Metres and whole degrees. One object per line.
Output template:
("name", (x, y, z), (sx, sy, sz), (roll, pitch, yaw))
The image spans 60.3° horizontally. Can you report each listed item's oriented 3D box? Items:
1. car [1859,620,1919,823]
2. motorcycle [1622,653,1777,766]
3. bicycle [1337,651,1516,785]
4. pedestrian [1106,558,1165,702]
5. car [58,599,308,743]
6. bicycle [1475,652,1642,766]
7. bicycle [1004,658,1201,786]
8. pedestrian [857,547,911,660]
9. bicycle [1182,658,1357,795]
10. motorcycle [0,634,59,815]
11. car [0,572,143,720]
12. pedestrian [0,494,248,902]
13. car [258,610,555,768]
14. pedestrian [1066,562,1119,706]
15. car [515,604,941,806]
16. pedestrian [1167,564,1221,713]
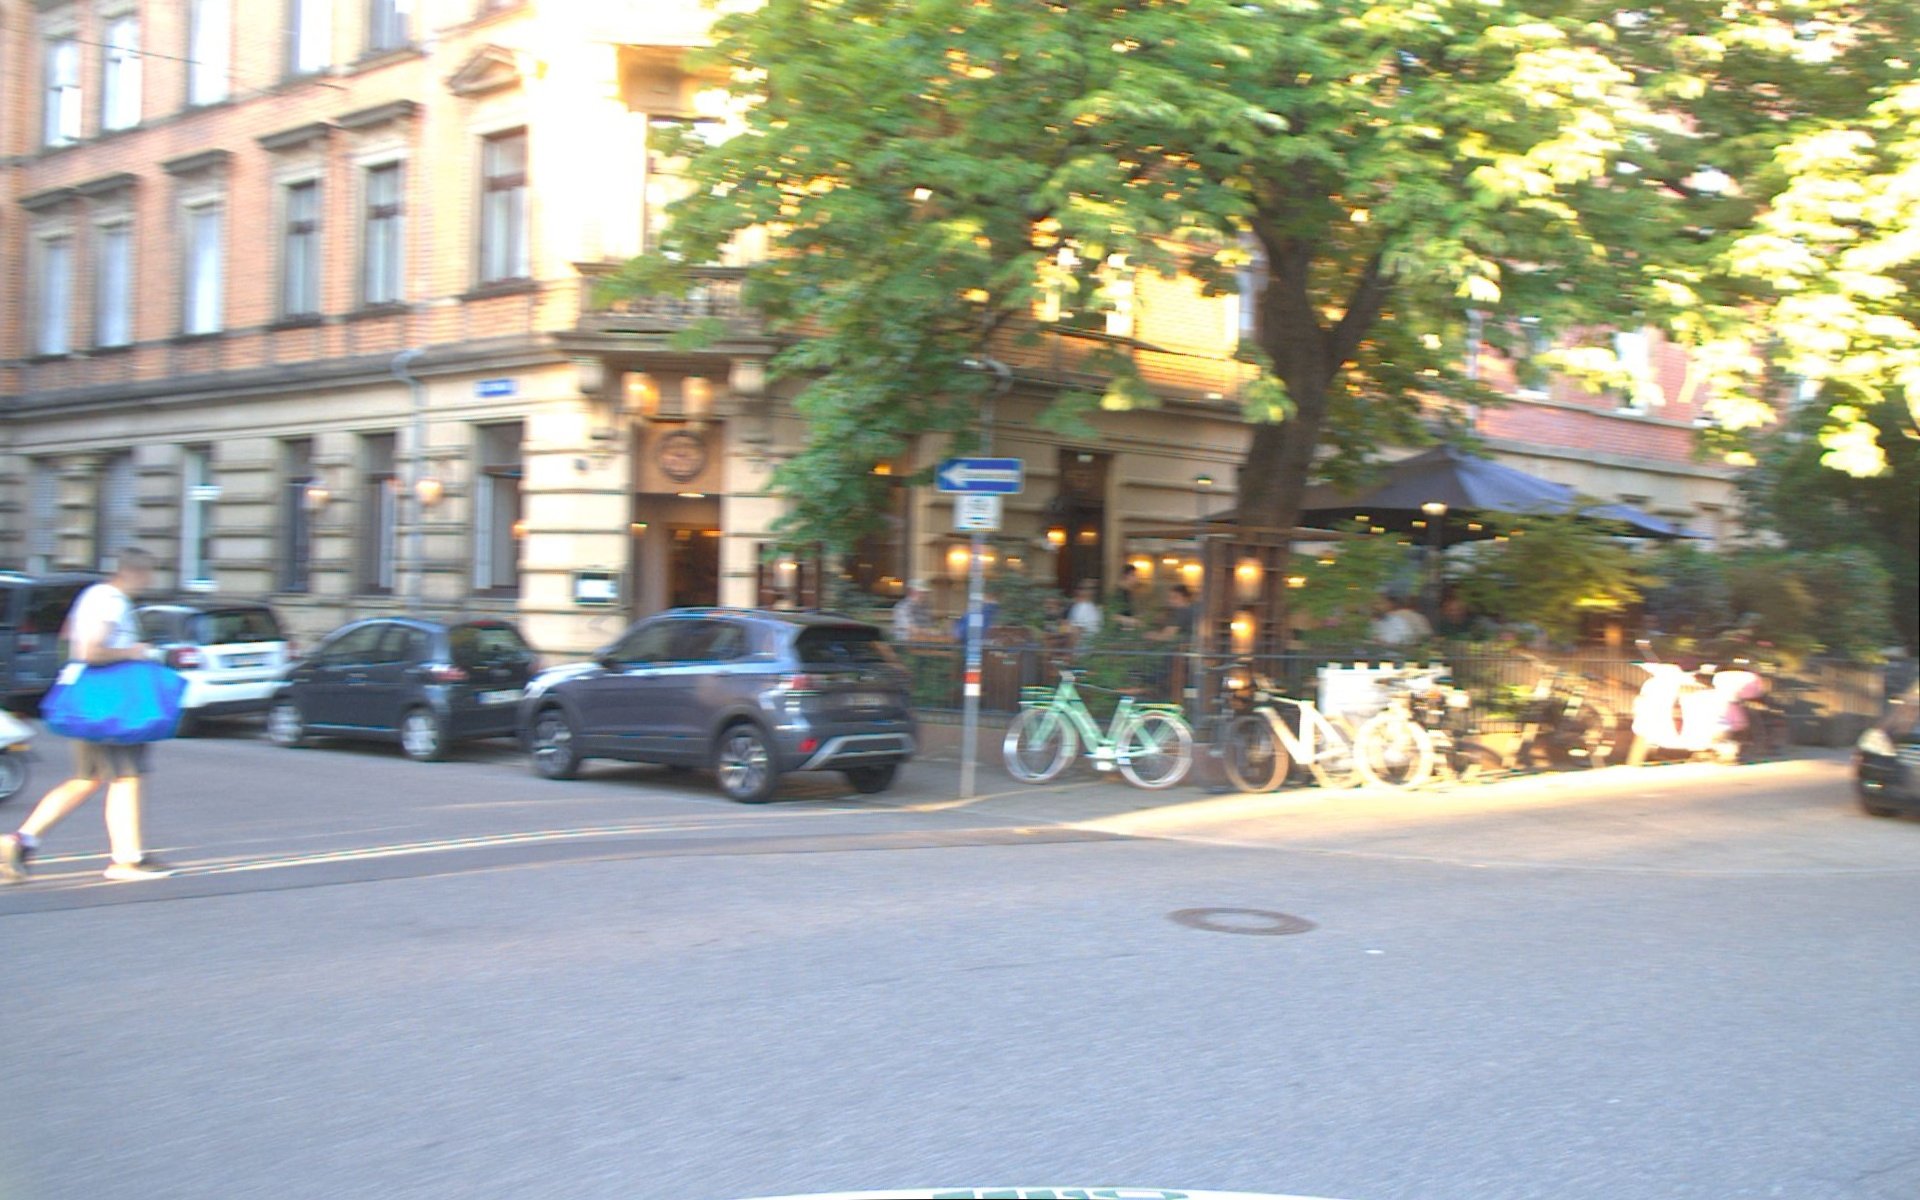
("car", (9.933, 1.100, 15.025), (3.806, 1.706, 1.648), (1, 2, -37))
("motorcycle", (8.338, 1.230, 18.617), (1.925, 1.206, 0.389), (2, 1, -25))
("bicycle", (4.518, 1.123, 15.960), (1.930, 1.206, 0.388), (2, 2, -31))
("pedestrian", (1.909, 0.319, 17.960), (0.512, 1.546, 0.463), (0, 0, 25))
("car", (-9.573, 0.802, 20.307), (3.269, 1.622, 1.461), (0, 0, 38))
("bicycle", (6.458, 1.176, 17.808), (1.925, 1.163, 0.389), (2, 1, -25))
("bicycle", (1.322, 1.119, 15.404), (1.784, 1.117, 0.393), (0, 0, 18))
("pedestrian", (-0.980, 0.038, 21.373), (0.515, 1.437, 0.461), (0, 0, 42))
("bicycle", (2.846, 1.129, 15.117), (1.722, 1.163, 0.388), (1, 2, -31))
("motorcycle", (-7.404, 0.889, 11.620), (1.841, 1.279, 0.466), (0, 0, -37))
("car", (-12.781, 0.568, 22.428), (3.418, 1.855, 1.682), (0, 0, 36))
("pedestrian", (-4.591, 0.501, 8.973), (0.851, 2.049, 1.005), (0, -2, 36))
("car", (-6.048, 0.889, 17.971), (3.268, 1.484, 1.461), (1, 1, 37))
("pedestrian", (1.384, 0.351, 17.247), (0.420, 1.476, 0.463), (0, 0, 25))
("car", (-2.146, 0.833, 14.852), (3.782, 1.572, 1.626), (0, 0, 37))
("pedestrian", (2.374, 0.383, 16.771), (0.420, 1.476, 0.463), (0, 0, 25))
